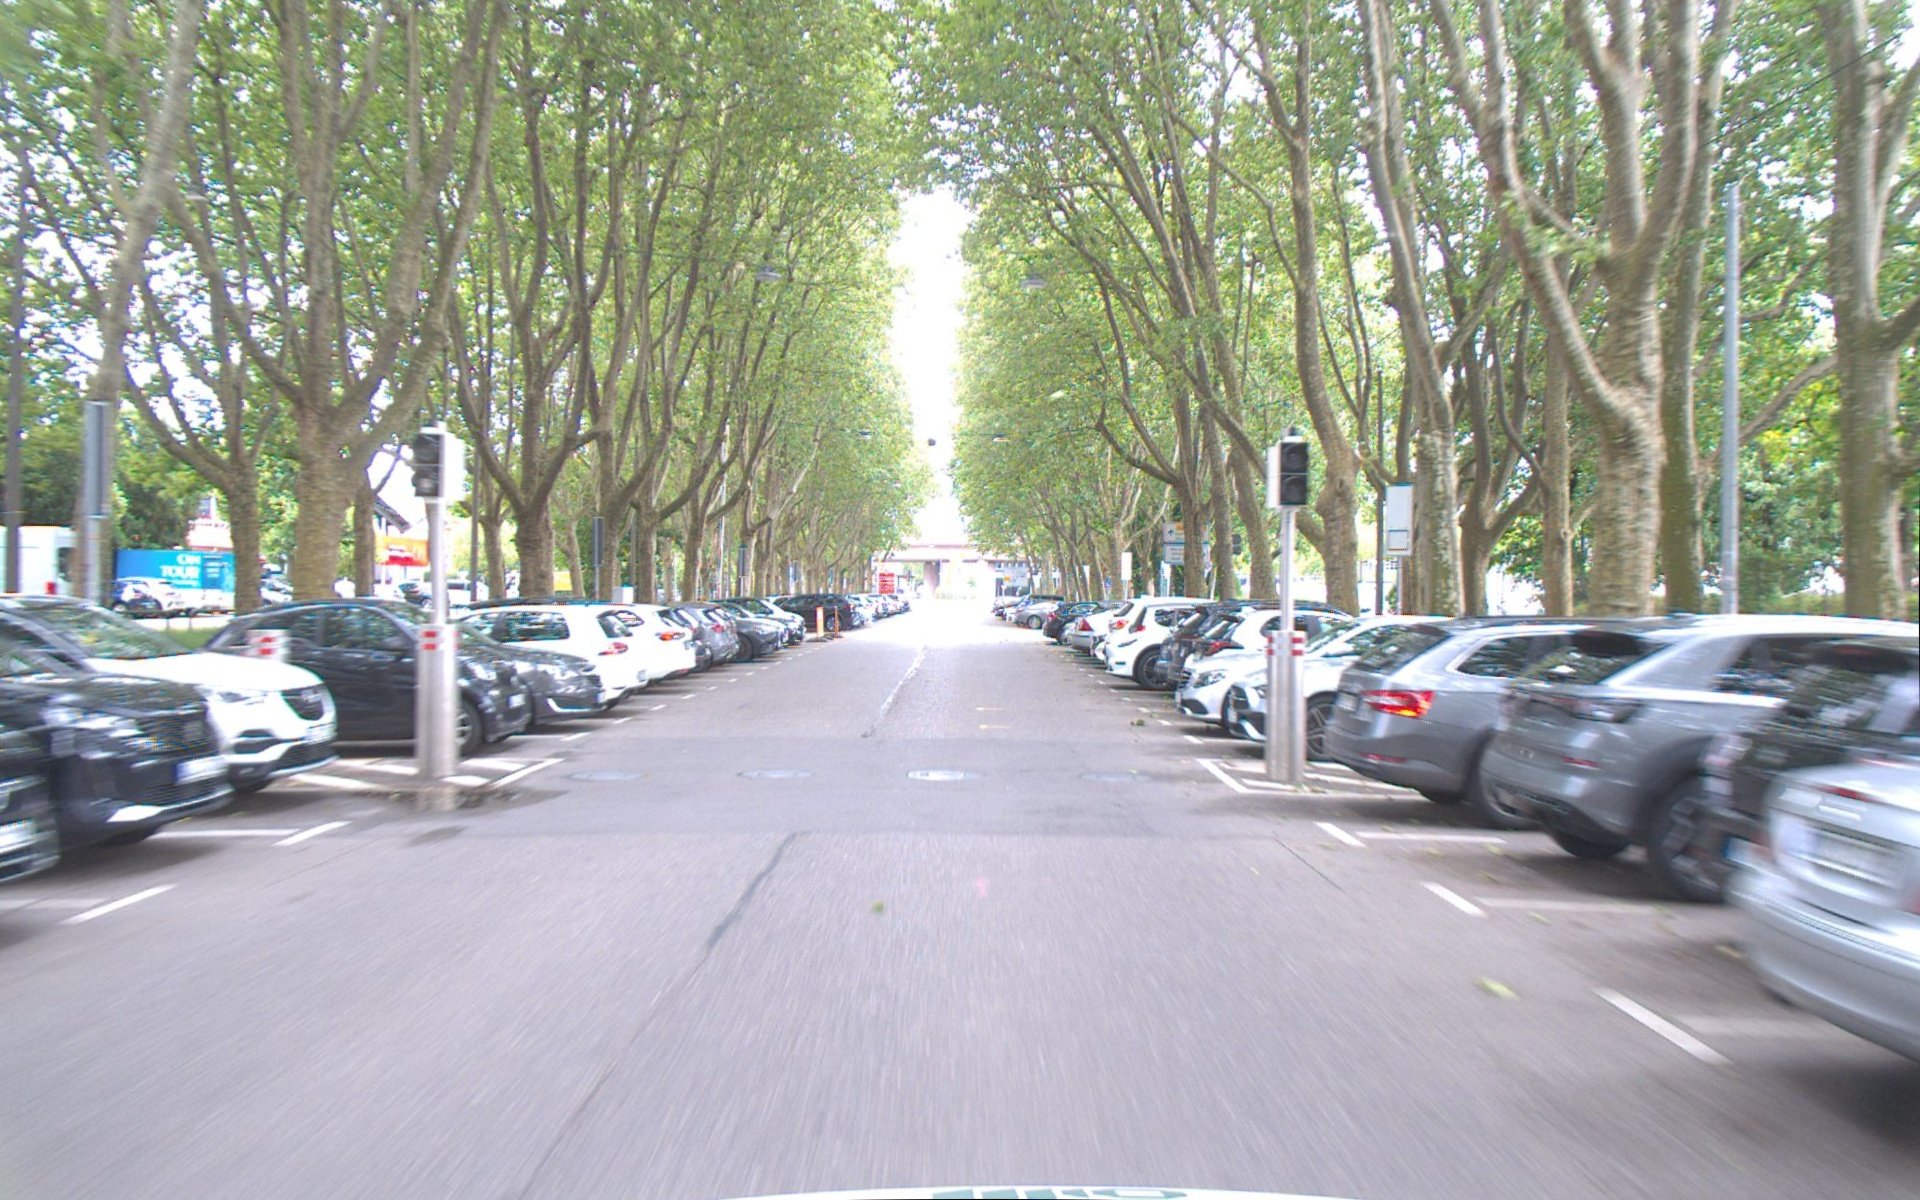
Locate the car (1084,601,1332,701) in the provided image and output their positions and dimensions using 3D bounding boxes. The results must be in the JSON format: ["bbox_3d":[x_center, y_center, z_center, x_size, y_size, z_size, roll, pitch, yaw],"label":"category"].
[{"bbox_3d":[4.399,0.891,29.716,4.084,1.624,1.853,2,0,-4],"label":"car"}]

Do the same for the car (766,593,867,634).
[{"bbox_3d":[-6.455,0.606,74.685,4.381,1.706,1.762,-2,0,-2],"label":"car"}]

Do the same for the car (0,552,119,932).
[{"bbox_3d":[-6.138,0.649,7.225,3.983,1.636,1.800,-1,0,2],"label":"car"}]

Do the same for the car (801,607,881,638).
[{"bbox_3d":[-5.892,1.120,82.137,3.733,1.377,1.663,-2,0,5],"label":"car"}]

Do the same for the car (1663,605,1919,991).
[{"bbox_3d":[5.296,0.825,7.271,3.698,1.495,1.624,2,0,1],"label":"car"}]

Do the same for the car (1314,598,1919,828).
[{"bbox_3d":[4.971,0.797,12.362,4.277,1.495,1.623,2,0,-1],"label":"car"}]

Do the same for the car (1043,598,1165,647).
[{"bbox_3d":[4.749,0.726,54.773,3.839,1.477,1.555,2,0,-1],"label":"car"}]

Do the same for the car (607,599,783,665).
[{"bbox_3d":[-6.268,0.737,39.411,3.941,1.455,1.693,-1,0,-3],"label":"car"}]

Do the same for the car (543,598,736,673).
[{"bbox_3d":[-6.705,0.731,34.860,3.750,1.455,1.693,-1,0,-3],"label":"car"}]

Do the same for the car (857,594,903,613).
[{"bbox_3d":[-6.868,0.307,141.457,3.734,1.542,1.687,1,0,3],"label":"car"}]

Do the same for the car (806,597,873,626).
[{"bbox_3d":[-7.178,0.686,98.763,3.733,1.630,1.787,-2,0,5],"label":"car"}]

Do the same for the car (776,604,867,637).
[{"bbox_3d":[-6.424,0.942,77.178,4.083,1.405,1.871,-2,0,-2],"label":"car"}]

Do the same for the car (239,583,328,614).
[{"bbox_3d":[-33.033,-0.086,80.833,3.680,1.373,1.535,2,0,-3],"label":"car"}]

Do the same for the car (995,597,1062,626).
[{"bbox_3d":[4.510,0.741,109.475,4.289,1.782,1.730,1,0,-3],"label":"car"}]

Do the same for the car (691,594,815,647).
[{"bbox_3d":[-6.490,0.628,52.172,3.750,1.582,1.693,-1,0,-3],"label":"car"}]

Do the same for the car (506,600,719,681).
[{"bbox_3d":[-6.677,0.757,32.086,3.749,1.455,1.801,-1,0,-2],"label":"car"}]

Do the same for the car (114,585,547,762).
[{"bbox_3d":[-6.307,0.704,16.887,3.750,1.636,1.693,-1,0,-3],"label":"car"}]

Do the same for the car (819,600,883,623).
[{"bbox_3d":[-6.872,0.744,104.545,3.733,1.319,1.787,-2,0,5],"label":"car"}]

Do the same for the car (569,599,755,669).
[{"bbox_3d":[-6.611,0.743,36.950,3.746,1.455,1.695,-1,0,4],"label":"car"}]

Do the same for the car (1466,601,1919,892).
[{"bbox_3d":[5.086,0.810,9.700,3.699,1.495,1.667,2,0,-1],"label":"car"}]

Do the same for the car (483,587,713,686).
[{"bbox_3d":[-6.431,0.626,29.731,3.751,1.636,1.857,-1,0,-4],"label":"car"}]

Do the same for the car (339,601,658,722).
[{"bbox_3d":[-6.021,0.777,21.895,3.750,1.455,1.693,-1,0,-3],"label":"car"}]

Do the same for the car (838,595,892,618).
[{"bbox_3d":[-7.044,0.462,122.360,3.733,1.542,1.687,-2,0,5],"label":"car"}]

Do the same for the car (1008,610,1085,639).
[{"bbox_3d":[4.677,1.320,89.141,4.087,1.467,1.732,1,0,5],"label":"car"}]

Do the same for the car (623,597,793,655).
[{"bbox_3d":[-6.745,0.688,44.568,4.311,1.455,1.694,-1,0,-1],"label":"car"}]

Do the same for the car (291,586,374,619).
[{"bbox_3d":[-32.589,0.133,85.951,3.680,1.617,1.535,2,0,-3],"label":"car"}]

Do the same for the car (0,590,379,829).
[{"bbox_3d":[-6.662,0.790,12.450,3.963,1.636,1.693,-1,-1,-3],"label":"car"}]

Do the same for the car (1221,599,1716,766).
[{"bbox_3d":[5.070,0.800,16.877,4.520,1.495,1.649,2,0,-1],"label":"car"}]

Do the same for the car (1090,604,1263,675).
[{"bbox_3d":[4.792,0.865,36.889,3.573,1.434,1.518,2,0,-4],"label":"car"}]

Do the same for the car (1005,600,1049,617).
[{"bbox_3d":[6.595,0.859,163.539,4.286,1.549,1.731,1,0,1],"label":"car"}]

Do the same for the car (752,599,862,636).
[{"bbox_3d":[-6.603,0.758,71.737,4.570,1.452,1.999,-2,0,-2],"label":"car"}]

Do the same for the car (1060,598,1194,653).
[{"bbox_3d":[4.747,0.706,47.232,3.604,1.448,1.518,2,0,-2],"label":"car"}]

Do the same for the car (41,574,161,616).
[{"bbox_3d":[-33.124,-0.190,63.852,3.725,1.512,1.678,2,0,-2],"label":"car"}]

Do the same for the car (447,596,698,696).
[{"bbox_3d":[-6.309,0.728,27.263,3.750,1.523,1.693,-1,0,-3],"label":"car"}]

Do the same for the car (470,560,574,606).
[{"bbox_3d":[-23.097,-0.892,87.317,4.975,2.271,1.535,2,0,-2],"label":"car"}]

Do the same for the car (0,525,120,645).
[{"bbox_3d":[-22.711,-0.386,38.035,5.667,2.642,2.000,2,0,0],"label":"car"}]

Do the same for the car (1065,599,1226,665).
[{"bbox_3d":[4.464,0.766,40.101,3.573,1.448,1.984,2,0,-4],"label":"car"}]

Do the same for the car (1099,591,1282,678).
[{"bbox_3d":[4.846,0.716,34.964,3.573,1.696,1.518,2,0,-4],"label":"car"}]

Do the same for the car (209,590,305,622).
[{"bbox_3d":[-32.310,0.260,76.071,3.679,1.373,1.535,2,0,-2],"label":"car"}]

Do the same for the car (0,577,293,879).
[{"bbox_3d":[-6.246,0.722,9.893,3.750,1.636,1.833,-1,0,-3],"label":"car"}]

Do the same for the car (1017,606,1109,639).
[{"bbox_3d":[5.109,1.113,81.877,4.478,1.512,2.001,1,0,5],"label":"car"}]

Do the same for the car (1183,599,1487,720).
[{"bbox_3d":[5.040,0.784,22.510,3.701,1.495,1.623,2,0,-4],"label":"car"}]

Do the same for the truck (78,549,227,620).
[{"bbox_3d":[-33.777,-0.648,69.303,5.204,2.790,1.928,2,0,0],"label":"truck"}]

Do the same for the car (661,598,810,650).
[{"bbox_3d":[-6.672,0.702,49.419,4.246,1.455,1.693,-1,0,-3],"label":"car"}]

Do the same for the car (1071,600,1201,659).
[{"bbox_3d":[4.695,0.786,44.399,3.354,1.448,1.519,2,0,2],"label":"car"}]

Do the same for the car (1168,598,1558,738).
[{"bbox_3d":[4.728,0.786,19.743,4.212,1.495,1.623,2,0,-4],"label":"car"}]

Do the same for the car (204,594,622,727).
[{"bbox_3d":[-6.278,0.670,19.364,4.313,1.388,1.693,-1,0,-3],"label":"car"}]

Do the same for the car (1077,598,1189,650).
[{"bbox_3d":[5.451,0.743,52.394,3.355,1.534,1.555,2,0,-1],"label":"car"}]

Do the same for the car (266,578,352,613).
[{"bbox_3d":[-32.817,-0.222,83.453,3.680,1.617,1.535,2,0,-3],"label":"car"}]

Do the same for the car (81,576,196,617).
[{"bbox_3d":[-33.089,-0.134,66.683,3.725,1.512,1.712,2,0,-2],"label":"car"}]

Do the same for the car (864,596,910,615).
[{"bbox_3d":[-6.322,0.500,143.432,3.734,1.542,1.687,1,0,3],"label":"car"}]

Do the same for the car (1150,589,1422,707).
[{"bbox_3d":[4.892,0.706,25.169,3.701,1.625,1.819,2,0,-4],"label":"car"}]

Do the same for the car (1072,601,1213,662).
[{"bbox_3d":[4.657,0.797,42.401,3.357,1.448,1.518,2,0,-4],"label":"car"}]

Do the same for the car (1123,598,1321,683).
[{"bbox_3d":[5.143,0.777,32.714,3.573,1.546,1.642,2,0,-4],"label":"car"}]

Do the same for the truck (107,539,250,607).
[{"bbox_3d":[-34.315,-1.161,72.746,5.129,2.790,2.206,2,0,0],"label":"truck"}]

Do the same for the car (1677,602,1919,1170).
[{"bbox_3d":[4.571,0.812,5.028,4.029,1.495,1.694,2,0,0],"label":"car"}]

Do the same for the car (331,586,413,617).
[{"bbox_3d":[-32.557,0.089,91.564,3.902,1.617,1.695,2,0,8],"label":"car"}]

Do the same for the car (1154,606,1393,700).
[{"bbox_3d":[5.090,0.844,27.135,3.573,1.395,1.518,2,0,-4],"label":"car"}]
